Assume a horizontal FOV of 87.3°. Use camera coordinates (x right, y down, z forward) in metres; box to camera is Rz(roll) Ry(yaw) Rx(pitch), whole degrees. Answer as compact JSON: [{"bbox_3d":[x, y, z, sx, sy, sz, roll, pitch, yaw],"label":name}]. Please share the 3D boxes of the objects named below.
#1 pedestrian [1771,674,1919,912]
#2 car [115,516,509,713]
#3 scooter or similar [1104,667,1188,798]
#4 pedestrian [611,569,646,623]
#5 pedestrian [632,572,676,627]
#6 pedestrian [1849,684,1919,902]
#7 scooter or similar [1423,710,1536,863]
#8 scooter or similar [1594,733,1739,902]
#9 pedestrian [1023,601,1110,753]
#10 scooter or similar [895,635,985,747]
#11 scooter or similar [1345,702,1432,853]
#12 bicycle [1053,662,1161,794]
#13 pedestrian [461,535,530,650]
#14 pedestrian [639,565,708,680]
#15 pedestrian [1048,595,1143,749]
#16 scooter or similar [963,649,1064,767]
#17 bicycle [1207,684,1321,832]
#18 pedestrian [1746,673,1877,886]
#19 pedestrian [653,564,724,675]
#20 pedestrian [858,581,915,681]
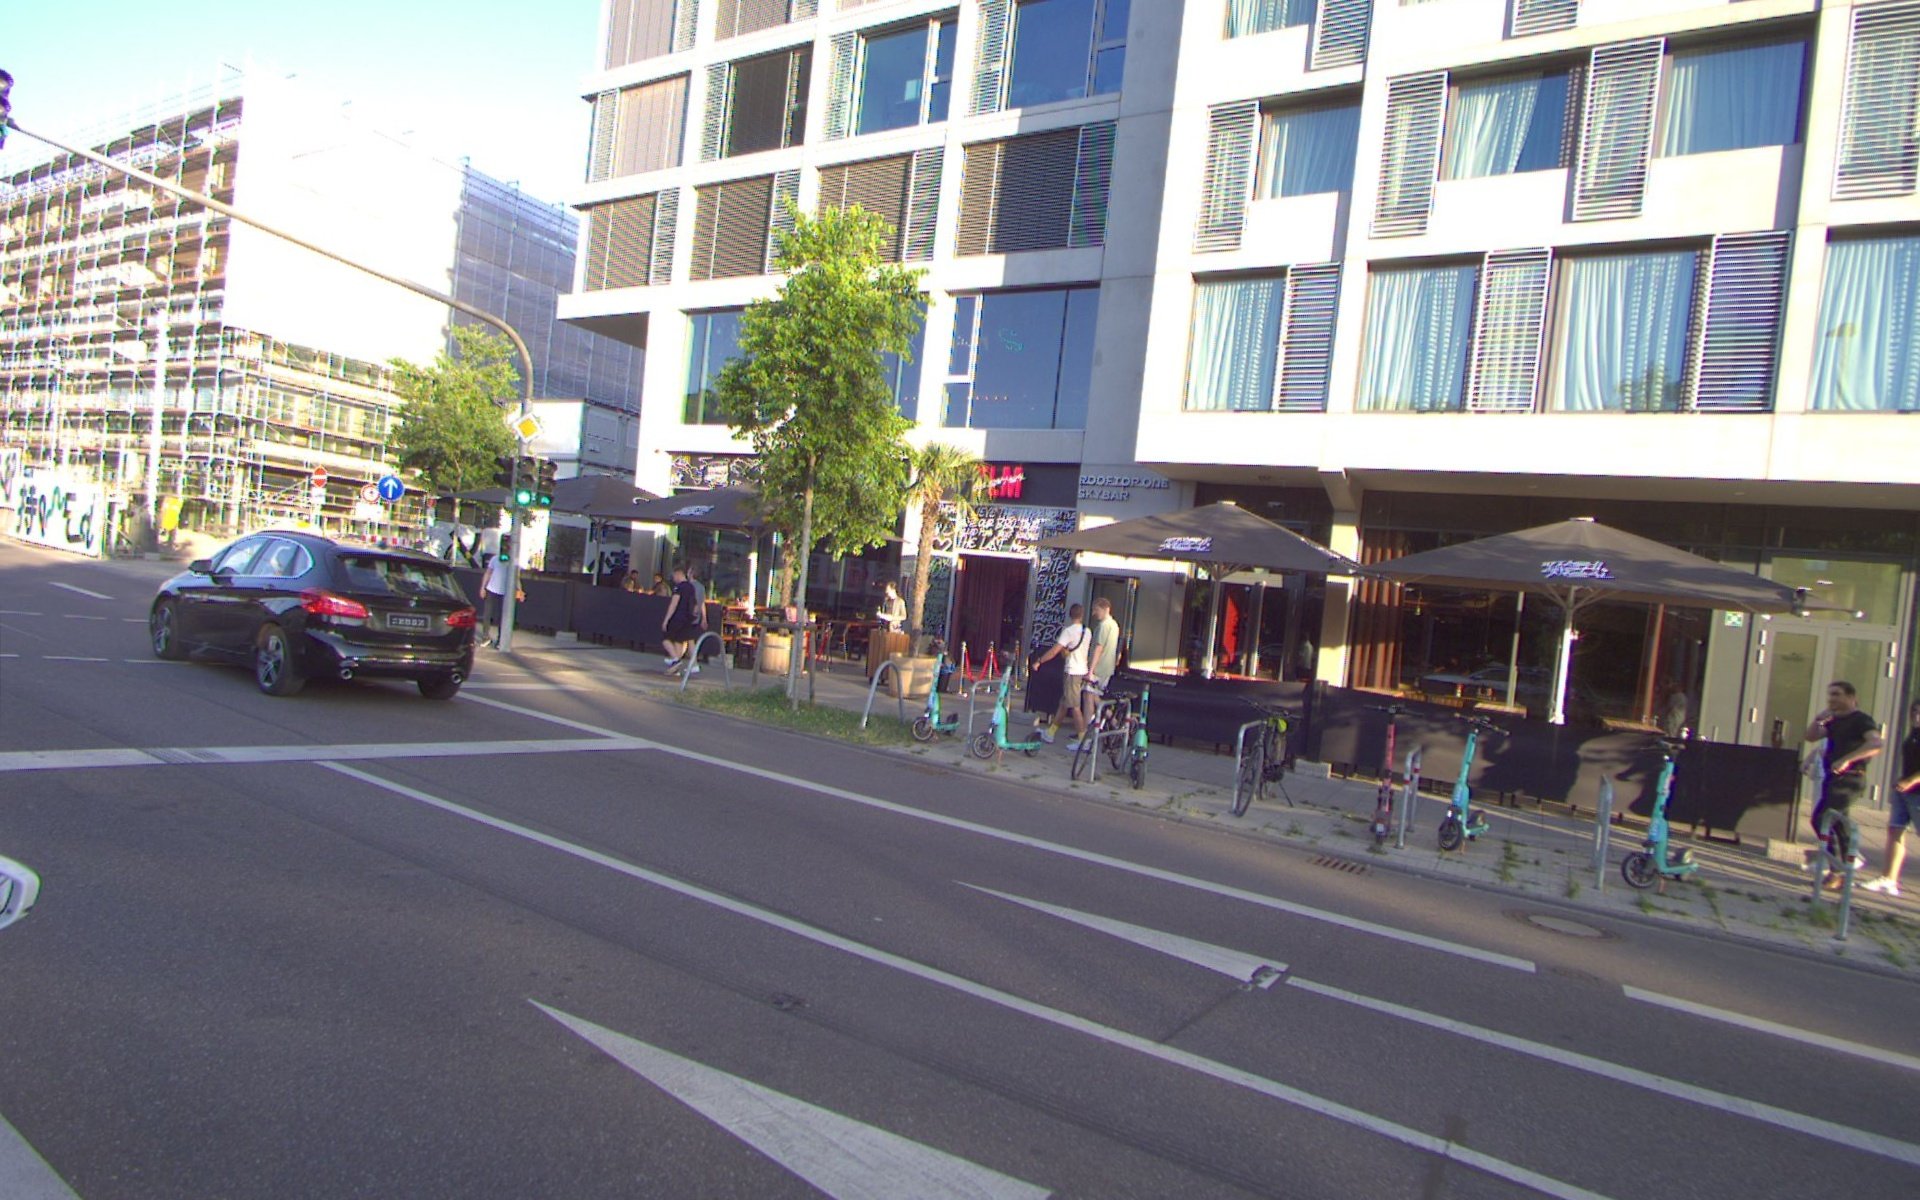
[{"bbox_3d":[7.924,1.655,8.956,0.927,1.874,0.742,7,4,39],"label":"pedestrian"},{"bbox_3d":[-7.185,0.100,10.985,4.715,1.536,1.822,6,-1,34],"label":"car"},{"bbox_3d":[2.012,1.378,10.774,0.471,1.218,1.211,7,3,25],"label":"scooter or similar"},{"bbox_3d":[-8.610,-0.108,26.116,0.610,1.337,0.613,2,4,-42],"label":"pedestrian"},{"bbox_3d":[-7.811,-0.013,25.684,0.705,1.337,0.743,8,4,43],"label":"pedestrian"},{"bbox_3d":[8.759,1.750,9.055,0.927,1.849,0.755,7,3,39],"label":"pedestrian"},{"bbox_3d":[4.812,1.679,9.297,1.124,1.229,0.525,3,2,-45],"label":"scooter or similar"},{"bbox_3d":[6.045,1.812,8.597,1.284,1.235,0.530,3,3,-36],"label":"scooter or similar"},{"bbox_3d":[1.359,0.958,12.789,0.814,1.810,0.577,5,2,26],"label":"pedestrian"},{"bbox_3d":[-0.236,1.093,12.422,0.588,1.240,1.053,7,3,26],"label":"scooter or similar"},{"bbox_3d":[4.030,1.621,9.429,0.501,1.207,1.156,5,2,32],"label":"scooter or similar"},{"bbox_3d":[1.657,1.355,11.094,0.557,1.209,1.796,7,2,25],"label":"bicycle"},{"bbox_3d":[-7.993,-0.132,17.322,0.757,1.872,0.677,6,2,-7],"label":"pedestrian"},{"bbox_3d":[-4.536,0.357,15.942,0.677,1.725,0.654,7,3,30],"label":"pedestrian"},{"bbox_3d":[1.812,0.940,13.431,0.852,1.913,0.824,5,2,32],"label":"pedestrian"},{"bbox_3d":[0.623,1.215,11.610,0.542,1.240,1.059,7,3,39],"label":"scooter or similar"},{"bbox_3d":[3.106,1.528,10.153,0.598,1.197,1.847,7,2,29],"label":"bicycle"},{"bbox_3d":[8.099,1.672,9.606,0.765,1.837,0.617,7,4,39],"label":"pedestrian"},{"bbox_3d":[-4.544,0.320,16.848,0.748,1.758,0.685,7,3,30],"label":"pedestrian"},{"bbox_3d":[-1.326,0.553,18.226,0.567,1.726,0.855,7,2,21],"label":"pedestrian"}]
